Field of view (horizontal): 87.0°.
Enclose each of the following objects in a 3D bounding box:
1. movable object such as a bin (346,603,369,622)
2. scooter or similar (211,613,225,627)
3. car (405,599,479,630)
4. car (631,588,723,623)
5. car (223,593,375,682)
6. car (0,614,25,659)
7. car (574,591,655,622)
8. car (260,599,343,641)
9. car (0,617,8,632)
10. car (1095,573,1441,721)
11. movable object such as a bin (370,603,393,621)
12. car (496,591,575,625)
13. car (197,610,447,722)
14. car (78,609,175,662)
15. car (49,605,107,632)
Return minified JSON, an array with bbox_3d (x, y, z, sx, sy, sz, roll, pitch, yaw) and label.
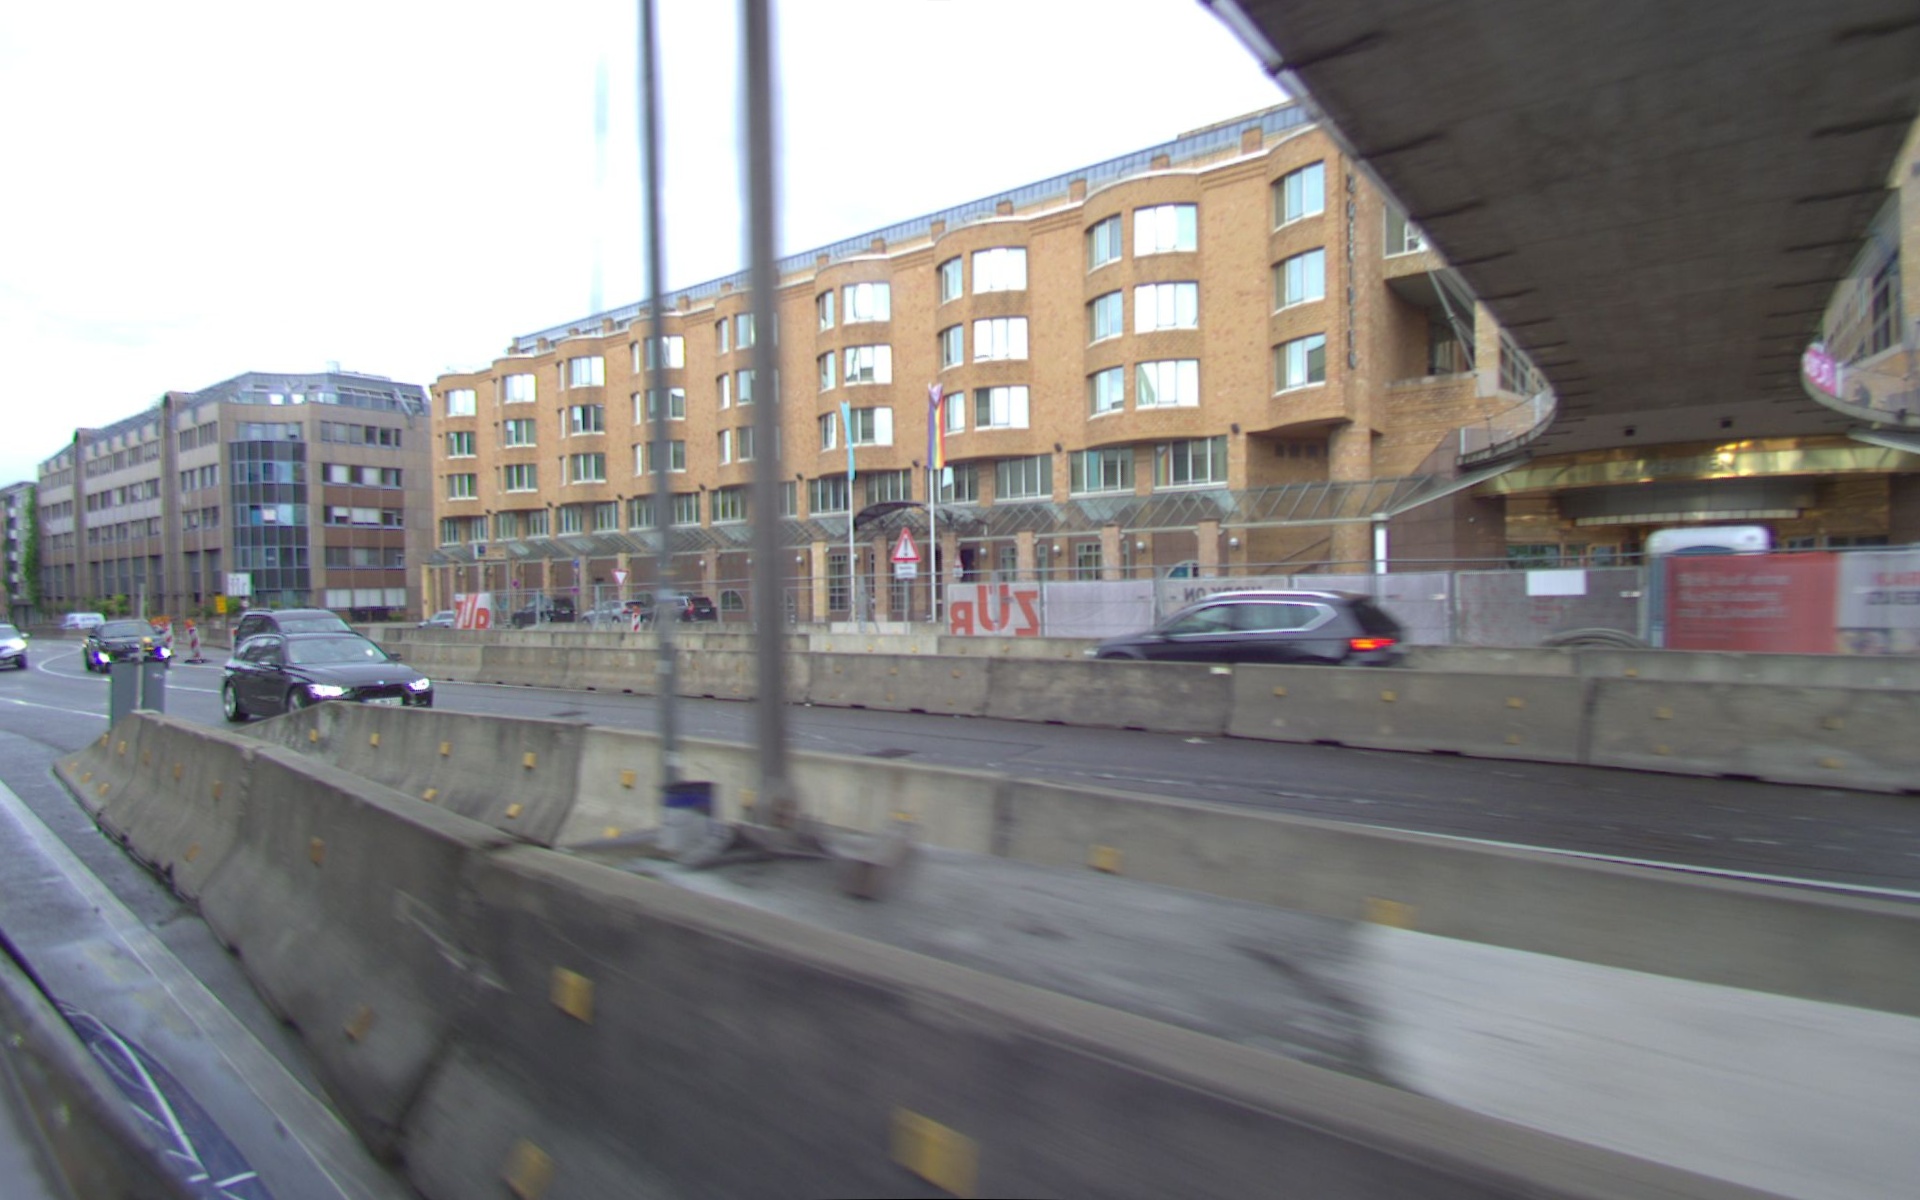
[{"bbox_3d":[-50.179,1.026,84.295,1.348,1.491,1.232,-1,1,37],"label":"movable object such as a bin"},{"bbox_3d":[-58.621,1.560,79.965,1.039,1.071,0.446,-1,0,26],"label":"scooter or similar"},{"bbox_3d":[-27.315,0.779,53.346,4.356,1.538,1.744,-1,-1,37],"label":"car"},{"bbox_3d":[-14.868,0.318,53.053,5.041,1.703,1.975,-1,1,37],"label":"car"},{"bbox_3d":[-15.377,0.813,23.456,4.248,1.814,1.776,-1,1,40],"label":"car"},{"bbox_3d":[-34.748,1.297,36.090,4.657,1.545,1.748,-1,1,44],"label":"car"},{"bbox_3d":[-19.292,0.369,56.443,4.529,1.606,1.977,-1,1,35],"label":"car"},{"bbox_3d":[-27.580,0.835,42.336,1.971,1.635,4.705,-1,0,-45],"label":"car"},{"bbox_3d":[-94.459,2.409,98.413,4.221,1.470,1.976,-1,1,37],"label":"car"},{"bbox_3d":[3.899,0.549,13.142,3.900,1.635,1.787,-2,0,40],"label":"car"},{"bbox_3d":[-49.091,1.037,85.824,1.348,1.491,1.231,-1,1,37],"label":"movable object such as a bin"},{"bbox_3d":[-25.467,0.519,60.634,5.003,1.900,1.976,-1,1,35],"label":"car"},{"bbox_3d":[-10.068,0.939,15.841,4.648,1.454,1.752,-1,1,37],"label":"car"},{"bbox_3d":[-27.293,1.131,33.083,4.354,1.545,1.749,-1,1,41],"label":"car"},{"bbox_3d":[-66.542,1.418,76.345,4.853,1.899,1.979,-1,1,32],"label":"car"}]
